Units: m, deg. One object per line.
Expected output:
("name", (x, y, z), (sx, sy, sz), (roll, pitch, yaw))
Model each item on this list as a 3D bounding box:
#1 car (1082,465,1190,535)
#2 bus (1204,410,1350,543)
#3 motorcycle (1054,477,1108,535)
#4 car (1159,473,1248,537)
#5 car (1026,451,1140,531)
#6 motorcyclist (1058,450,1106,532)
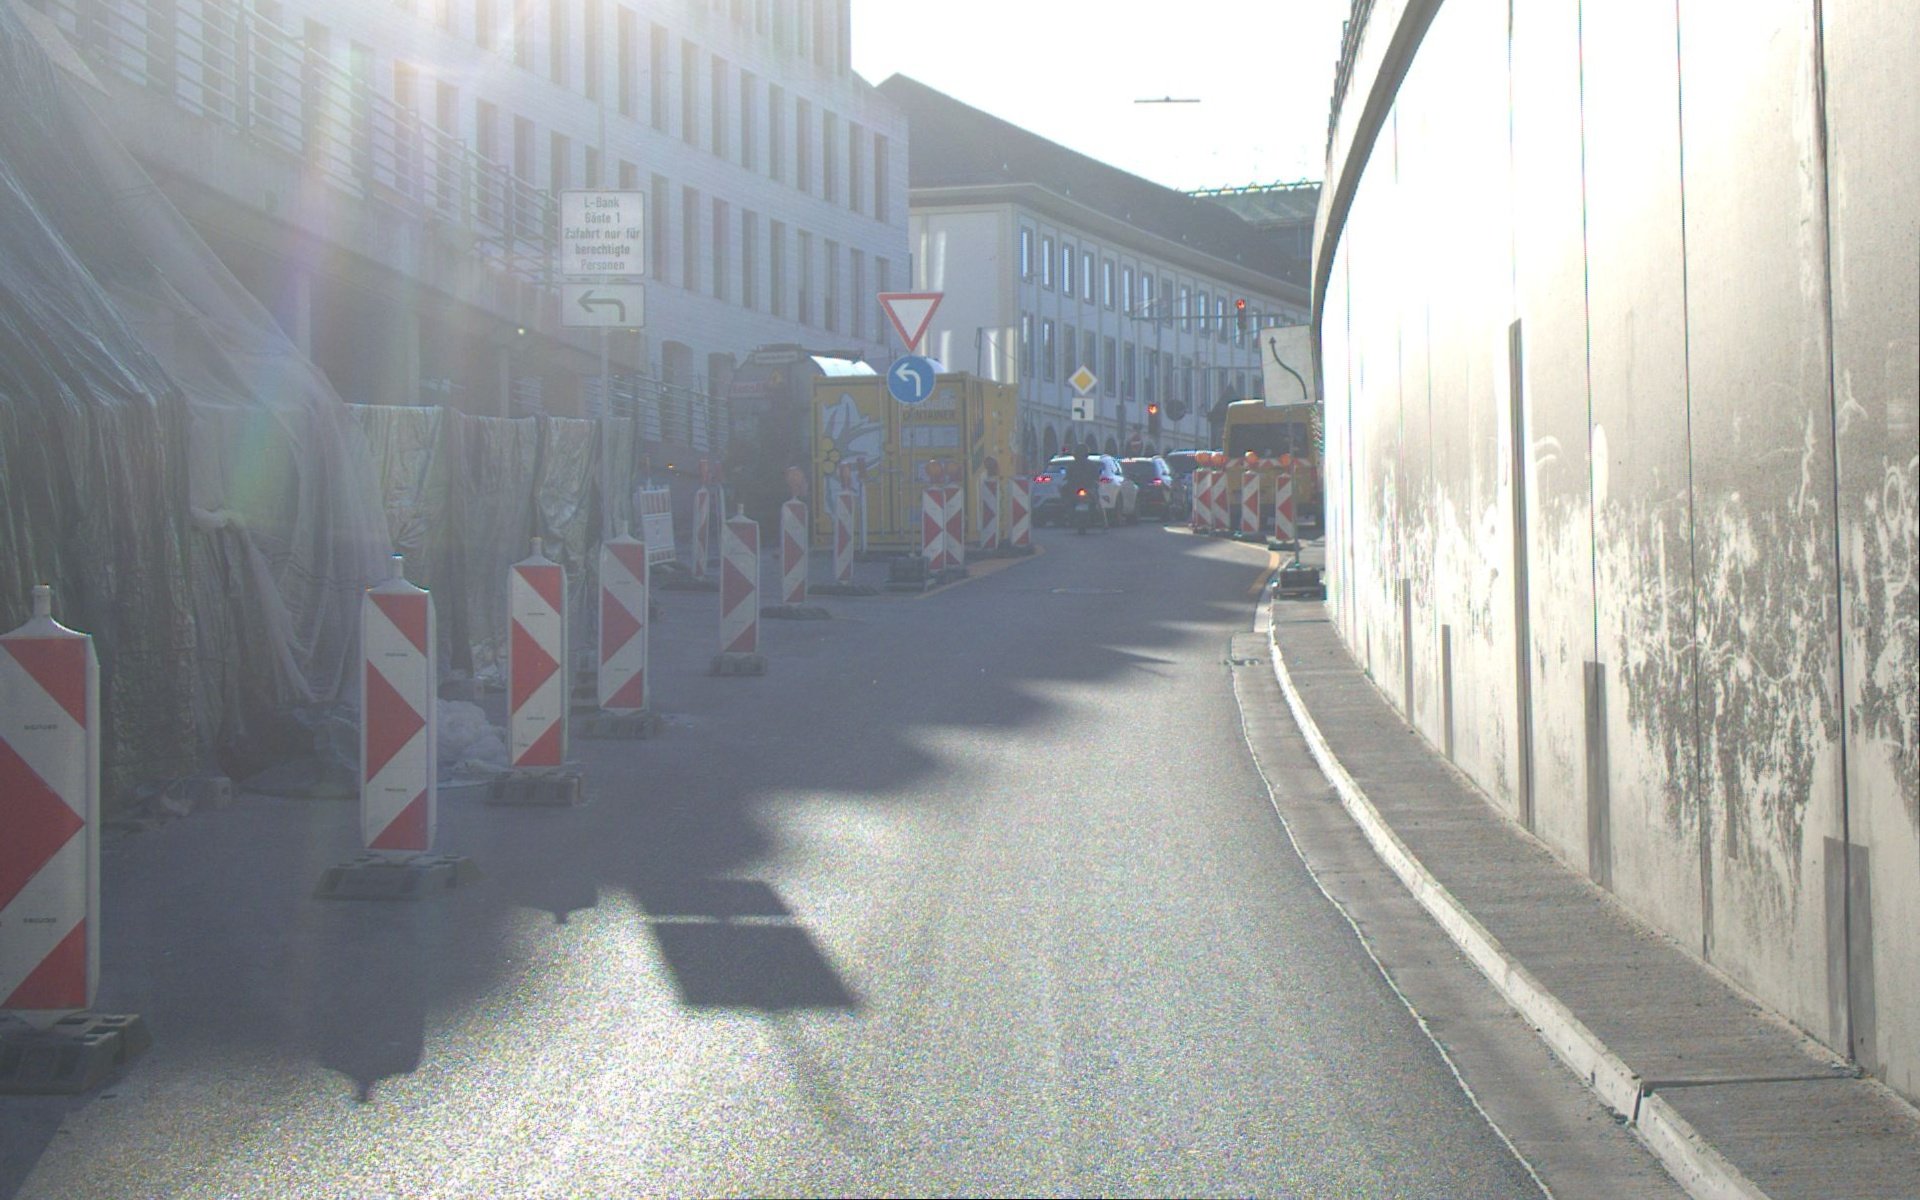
("car", (4.008, -2.250, 77.785), (1.821, 1.528, 3.998), (1, 1, 12))
("bus", (6.338, -2.453, 68.313), (2.226, 2.548, 4.424), (1, 2, 14))
("motorcycle", (2.281, -1.760, 64.656), (0.771, 0.989, 2.183), (0, -1, 9))
("car", (6.083, -2.357, 85.506), (1.857, 1.528, 3.999), (1, 1, 9))
("car", (2.599, -2.254, 71.577), (1.777, 1.598, 3.998), (1, 1, 11))
("motorcyclist", (2.298, -2.043, 64.776), (0.804, 1.499, 0.776), (0, -1, 9))
